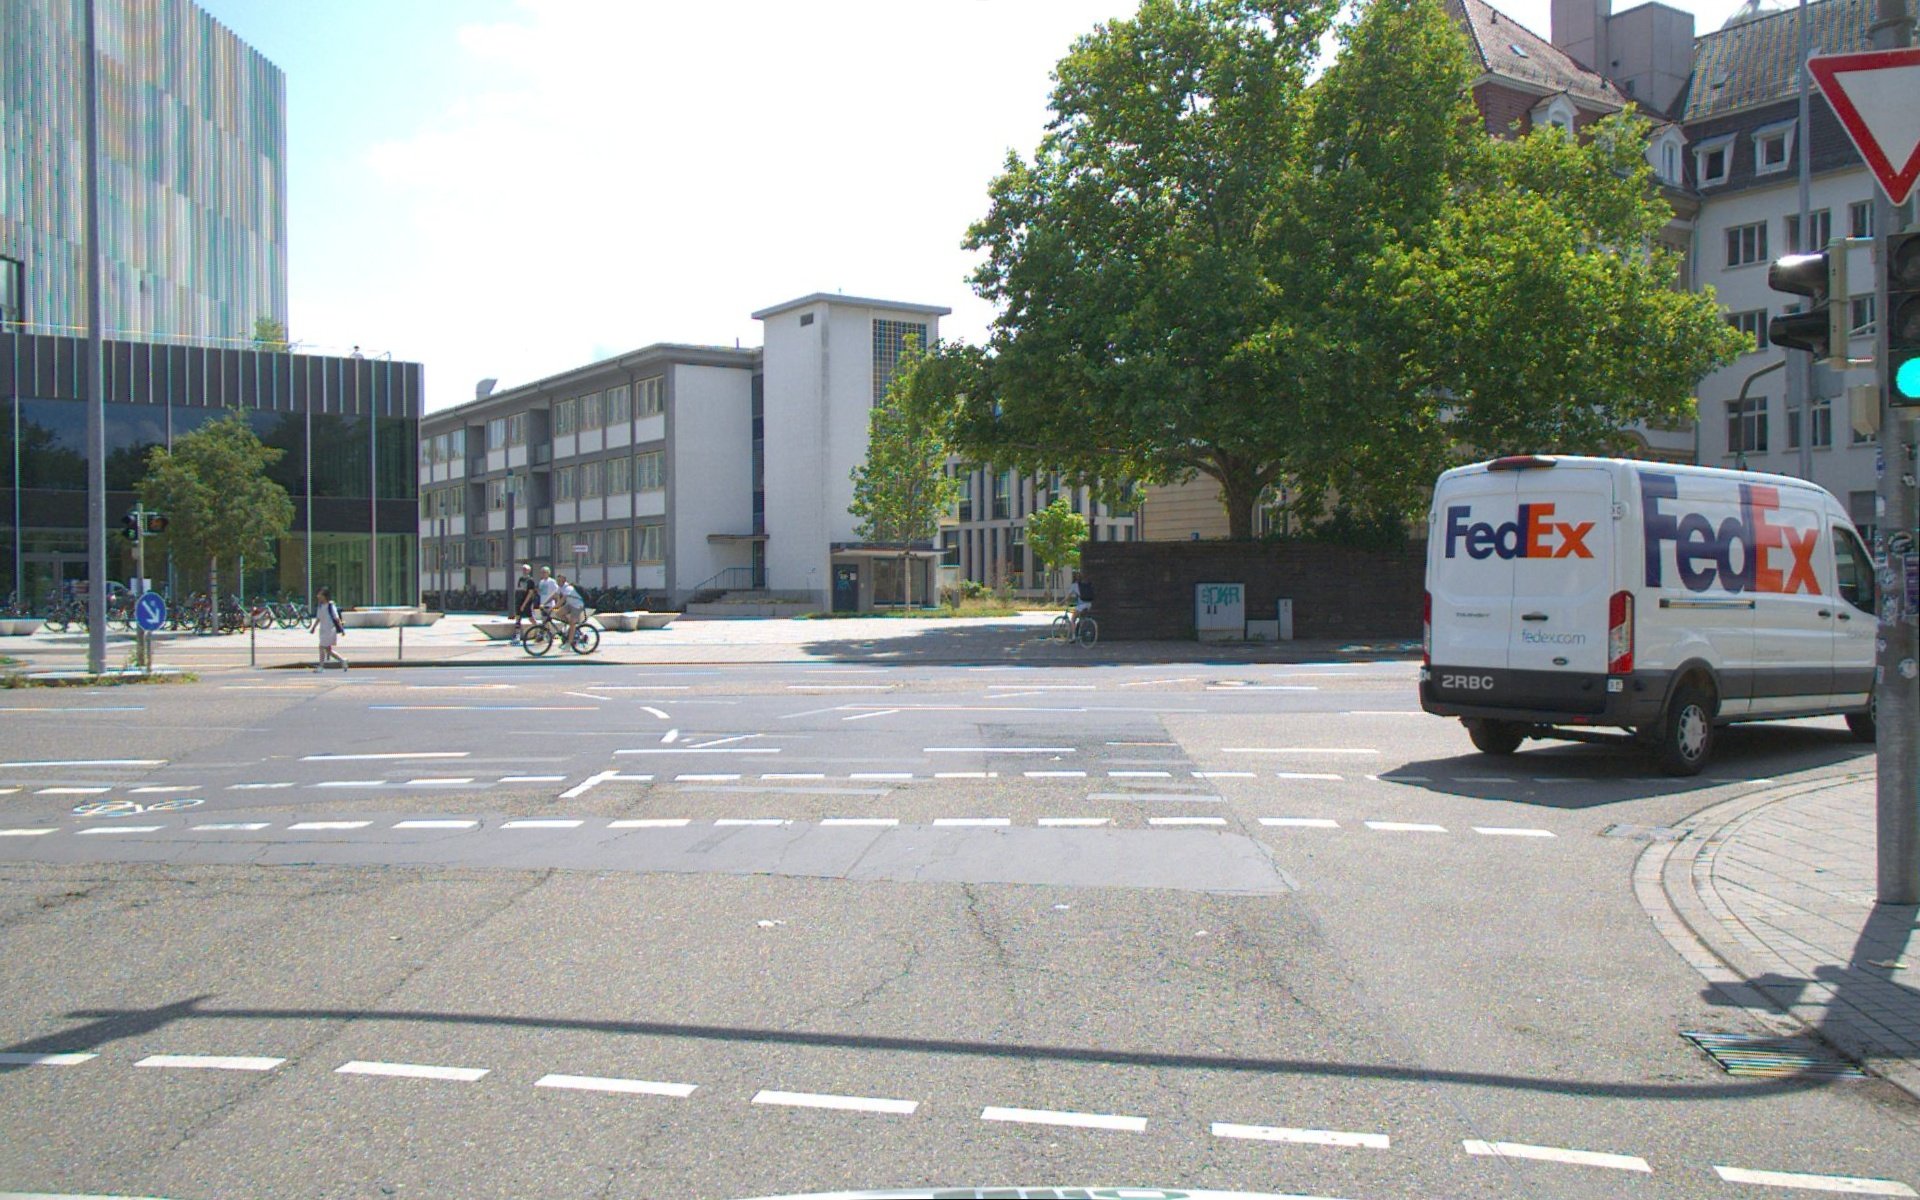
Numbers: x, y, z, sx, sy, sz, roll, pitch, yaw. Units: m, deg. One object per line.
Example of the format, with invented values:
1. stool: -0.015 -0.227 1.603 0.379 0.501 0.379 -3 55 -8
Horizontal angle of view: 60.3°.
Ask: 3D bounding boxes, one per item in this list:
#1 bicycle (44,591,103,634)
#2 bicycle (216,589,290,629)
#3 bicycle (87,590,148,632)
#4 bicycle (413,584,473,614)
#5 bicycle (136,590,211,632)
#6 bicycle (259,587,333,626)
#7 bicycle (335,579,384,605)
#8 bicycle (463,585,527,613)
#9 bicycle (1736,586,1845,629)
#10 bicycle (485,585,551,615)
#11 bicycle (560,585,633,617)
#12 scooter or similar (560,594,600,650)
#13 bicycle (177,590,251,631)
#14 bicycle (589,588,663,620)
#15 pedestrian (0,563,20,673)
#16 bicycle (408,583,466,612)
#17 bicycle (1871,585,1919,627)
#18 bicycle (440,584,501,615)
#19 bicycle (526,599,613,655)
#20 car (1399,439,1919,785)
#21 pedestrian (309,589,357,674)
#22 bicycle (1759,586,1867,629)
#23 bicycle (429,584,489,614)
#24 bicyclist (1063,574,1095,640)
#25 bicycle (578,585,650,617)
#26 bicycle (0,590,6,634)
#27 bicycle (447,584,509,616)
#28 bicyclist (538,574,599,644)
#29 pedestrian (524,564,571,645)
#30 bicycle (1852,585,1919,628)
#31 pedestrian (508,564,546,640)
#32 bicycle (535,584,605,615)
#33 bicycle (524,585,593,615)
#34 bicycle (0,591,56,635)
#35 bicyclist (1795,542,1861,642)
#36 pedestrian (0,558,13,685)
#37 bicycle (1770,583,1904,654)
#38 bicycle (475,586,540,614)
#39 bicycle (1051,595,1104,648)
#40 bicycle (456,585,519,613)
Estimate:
1. bicycle: -27.113 0.365 50.560 1.188 1.259 2.912 0 0 -37
2. bicycle: -22.900 0.292 53.564 2.901 1.259 1.193 0 0 44
3. bicycle: -26.129 0.319 51.267 1.188 1.259 2.911 0 0 -38
4. bicycle: -28.298 -0.063 90.519 2.936 1.602 1.102 0 0 -39
5. bicycle: -24.683 0.326 51.895 2.901 1.259 1.193 0 0 44
6. bicycle: -21.782 0.208 54.245 2.901 1.259 1.193 0 0 44
7. bicycle: -36.966 -0.491 101.865 1.093 1.602 2.963 0 0 26
8. bicycle: -23.543 -0.036 83.730 2.936 1.387 1.102 0 0 -39
9. bicycle: 20.304 0.178 40.450 2.334 1.011 0.753 -1 0 -5
10. bicycle: -21.498 -0.001 80.441 2.936 1.387 1.102 0 0 -39
11. bicycle: -16.108 0.044 73.329 2.936 1.387 1.258 0 0 -39
12. scooter or similar: -8.884 0.486 38.591 0.705 1.198 2.712 -1 1 -17
13. bicycle: -23.835 0.318 52.824 2.901 1.259 1.193 0 0 44
14. bicycle: -14.320 0.167 70.998 2.936 1.387 1.102 0 0 -39
15. pedestrian: -16.558 0.305 27.730 0.844 1.850 1.096 -1 0 22
16. bicycle: -28.984 -0.156 91.691 2.936 1.602 1.102 0 0 -39
17. bicycle: 23.823 0.135 40.813 2.334 1.011 0.724 -1 0 -5
18. bicycle: -25.924 -0.044 87.653 2.936 1.602 1.102 0 0 -39
19. bicycle: -8.481 0.566 36.014 0.830 1.165 1.995 0 0 22
20. car: 6.559 0.010 15.026 5.544 2.611 2.074 -2 2 -38
21. pedestrian: -11.688 0.578 30.872 0.813 1.550 0.810 0 0 -20
22. bicycle: 20.889 0.186 40.510 2.334 1.011 0.696 -1 0 -5
23. bicycle: -27.057 -0.054 89.415 2.936 1.602 1.102 0 0 -39
24. bicyclist: 2.692 0.160 37.564 0.505 1.477 0.784 0 0 -14
25. bicycle: -15.063 0.053 72.084 2.936 1.387 1.102 0 0 -39
26. bicycle: -29.122 0.340 48.962 1.188 1.259 2.912 0 0 -37
27. bicycle: -25.259 -0.001 86.625 2.936 1.602 1.102 0 0 -39
28. bicyclist: -8.504 0.185 35.951 0.832 1.493 1.068 -1 0 22
29. pedestrian: -10.005 0.101 40.089 0.857 1.922 0.903 -1 0 -32
30. bicycle: 23.334 0.148 40.765 2.334 1.011 0.753 -1 0 -5
31. pedestrian: -10.659 0.043 40.677 0.663 1.846 0.806 0 0 -34
32. bicycle: -17.779 -0.007 75.477 2.936 1.387 1.102 0 0 -39
33. bicycle: -18.569 -0.011 76.520 2.936 1.387 1.102 0 0 -39
34. bicycle: -28.103 0.373 49.764 1.188 1.259 2.912 0 0 -37
35. bicyclist: 15.019 -0.130 28.632 0.868 1.701 0.684 -1 0 17
36. pedestrian: -14.767 0.331 24.552 0.813 1.903 1.083 -1 0 -4
37. bicycle: 15.137 0.315 28.605 1.940 1.205 0.682 -1 0 17
38. bicycle: -22.402 -0.010 81.908 2.936 1.387 1.102 0 0 -39
39. bicycle: 2.660 0.476 37.702 0.541 1.150 2.166 0 0 -14
40. bicycle: -24.249 -0.042 84.897 2.936 1.387 1.102 0 0 -39
